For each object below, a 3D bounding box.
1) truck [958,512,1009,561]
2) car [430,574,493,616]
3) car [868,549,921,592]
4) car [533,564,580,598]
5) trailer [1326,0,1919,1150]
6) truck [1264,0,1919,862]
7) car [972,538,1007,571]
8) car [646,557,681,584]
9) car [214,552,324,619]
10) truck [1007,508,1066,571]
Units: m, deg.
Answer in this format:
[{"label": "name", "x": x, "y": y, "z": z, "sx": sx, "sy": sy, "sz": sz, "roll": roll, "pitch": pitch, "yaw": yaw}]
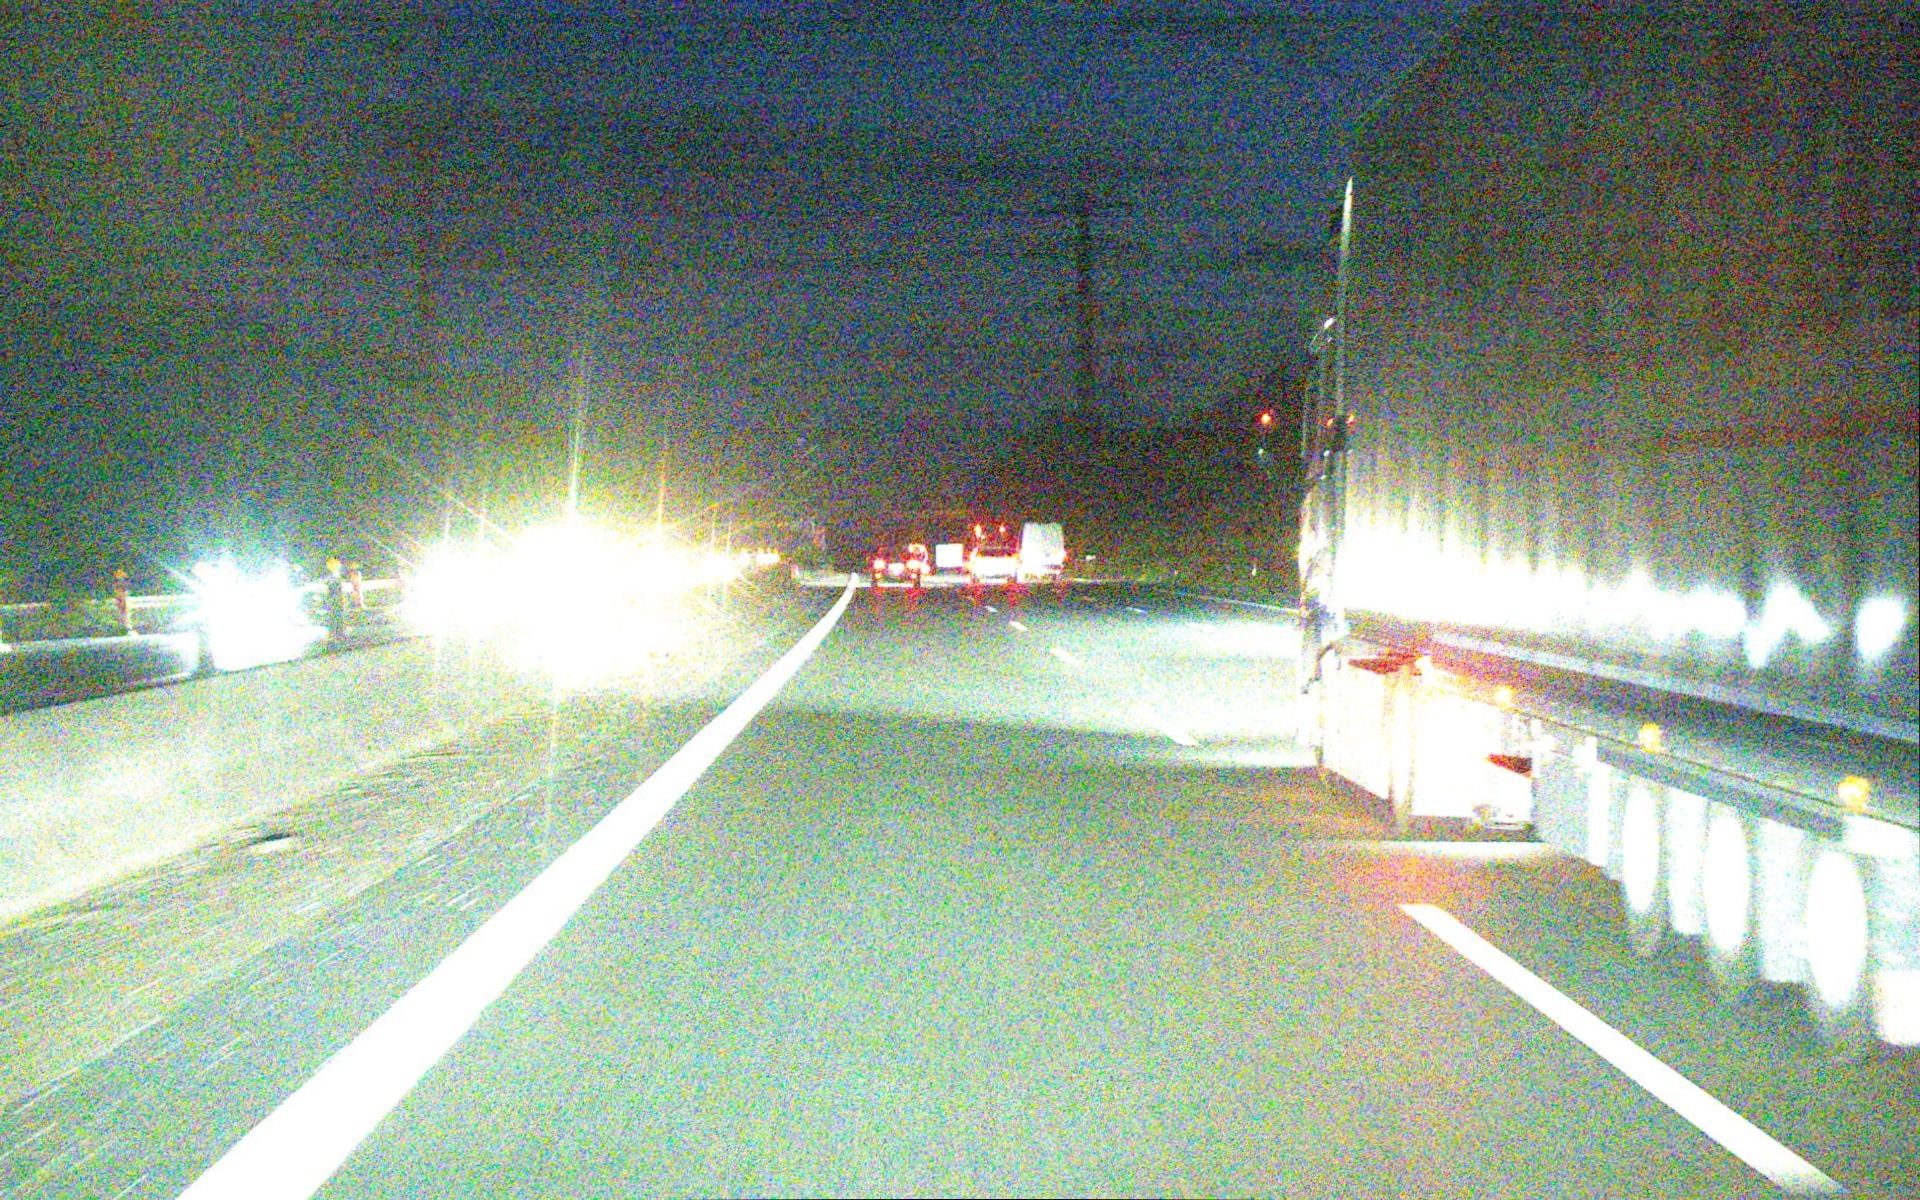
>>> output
[{"label": "truck", "x": 1.582, "y": -4.395, "z": 239.748, "sx": 3.044, "sy": 3.313, "sz": 10.143, "roll": 1, "pitch": 1, "yaw": -2}, {"label": "car", "x": -17.145, "y": -0.183, "z": 118.455, "sx": 1.661, "sy": 1.329, "sz": 4.810, "roll": -2, "pitch": 1, "yaw": -3}, {"label": "car", "x": -2.397, "y": -1.083, "z": 124.390, "sx": 1.821, "sy": 1.461, "sz": 4.248, "roll": 1, "pitch": 1, "yaw": -2}, {"label": "car", "x": -17.656, "y": -0.835, "z": 150.556, "sx": 1.631, "sy": 1.389, "sz": 4.878, "roll": -2, "pitch": 1, "yaw": -2}, {"label": "trailer", "x": 3.678, "y": -0.783, "z": 13.267, "sx": 2.742, "sy": 4.192, "sz": 13.511, "roll": 1, "pitch": 1, "yaw": -1}, {"label": "truck", "x": 3.534, "y": -0.873, "z": 20.286, "sx": 2.661, "sy": 4.192, "sz": 6.723, "roll": 1, "pitch": 1, "yaw": -1}, {"label": "car", "x": 1.256, "y": -1.946, "z": 147.358, "sx": 1.346, "sy": 1.382, "sz": 3.502, "roll": 1, "pitch": 1, "yaw": -2}, {"label": "car", "x": -16.843, "y": -1.688, "z": 195.546, "sx": 1.750, "sy": 1.473, "sz": 4.583, "roll": -2, "pitch": 1, "yaw": -3}, {"label": "car", "x": -16.313, "y": -0.362, "z": 81.304, "sx": 1.750, "sy": 1.473, "sz": 4.726, "roll": -2, "pitch": 1, "yaw": -2}, {"label": "truck", "x": 3.535, "y": -2.779, "z": 161.106, "sx": 2.076, "sy": 2.682, "sz": 7.308, "roll": 1, "pitch": -1, "yaw": -4}]
